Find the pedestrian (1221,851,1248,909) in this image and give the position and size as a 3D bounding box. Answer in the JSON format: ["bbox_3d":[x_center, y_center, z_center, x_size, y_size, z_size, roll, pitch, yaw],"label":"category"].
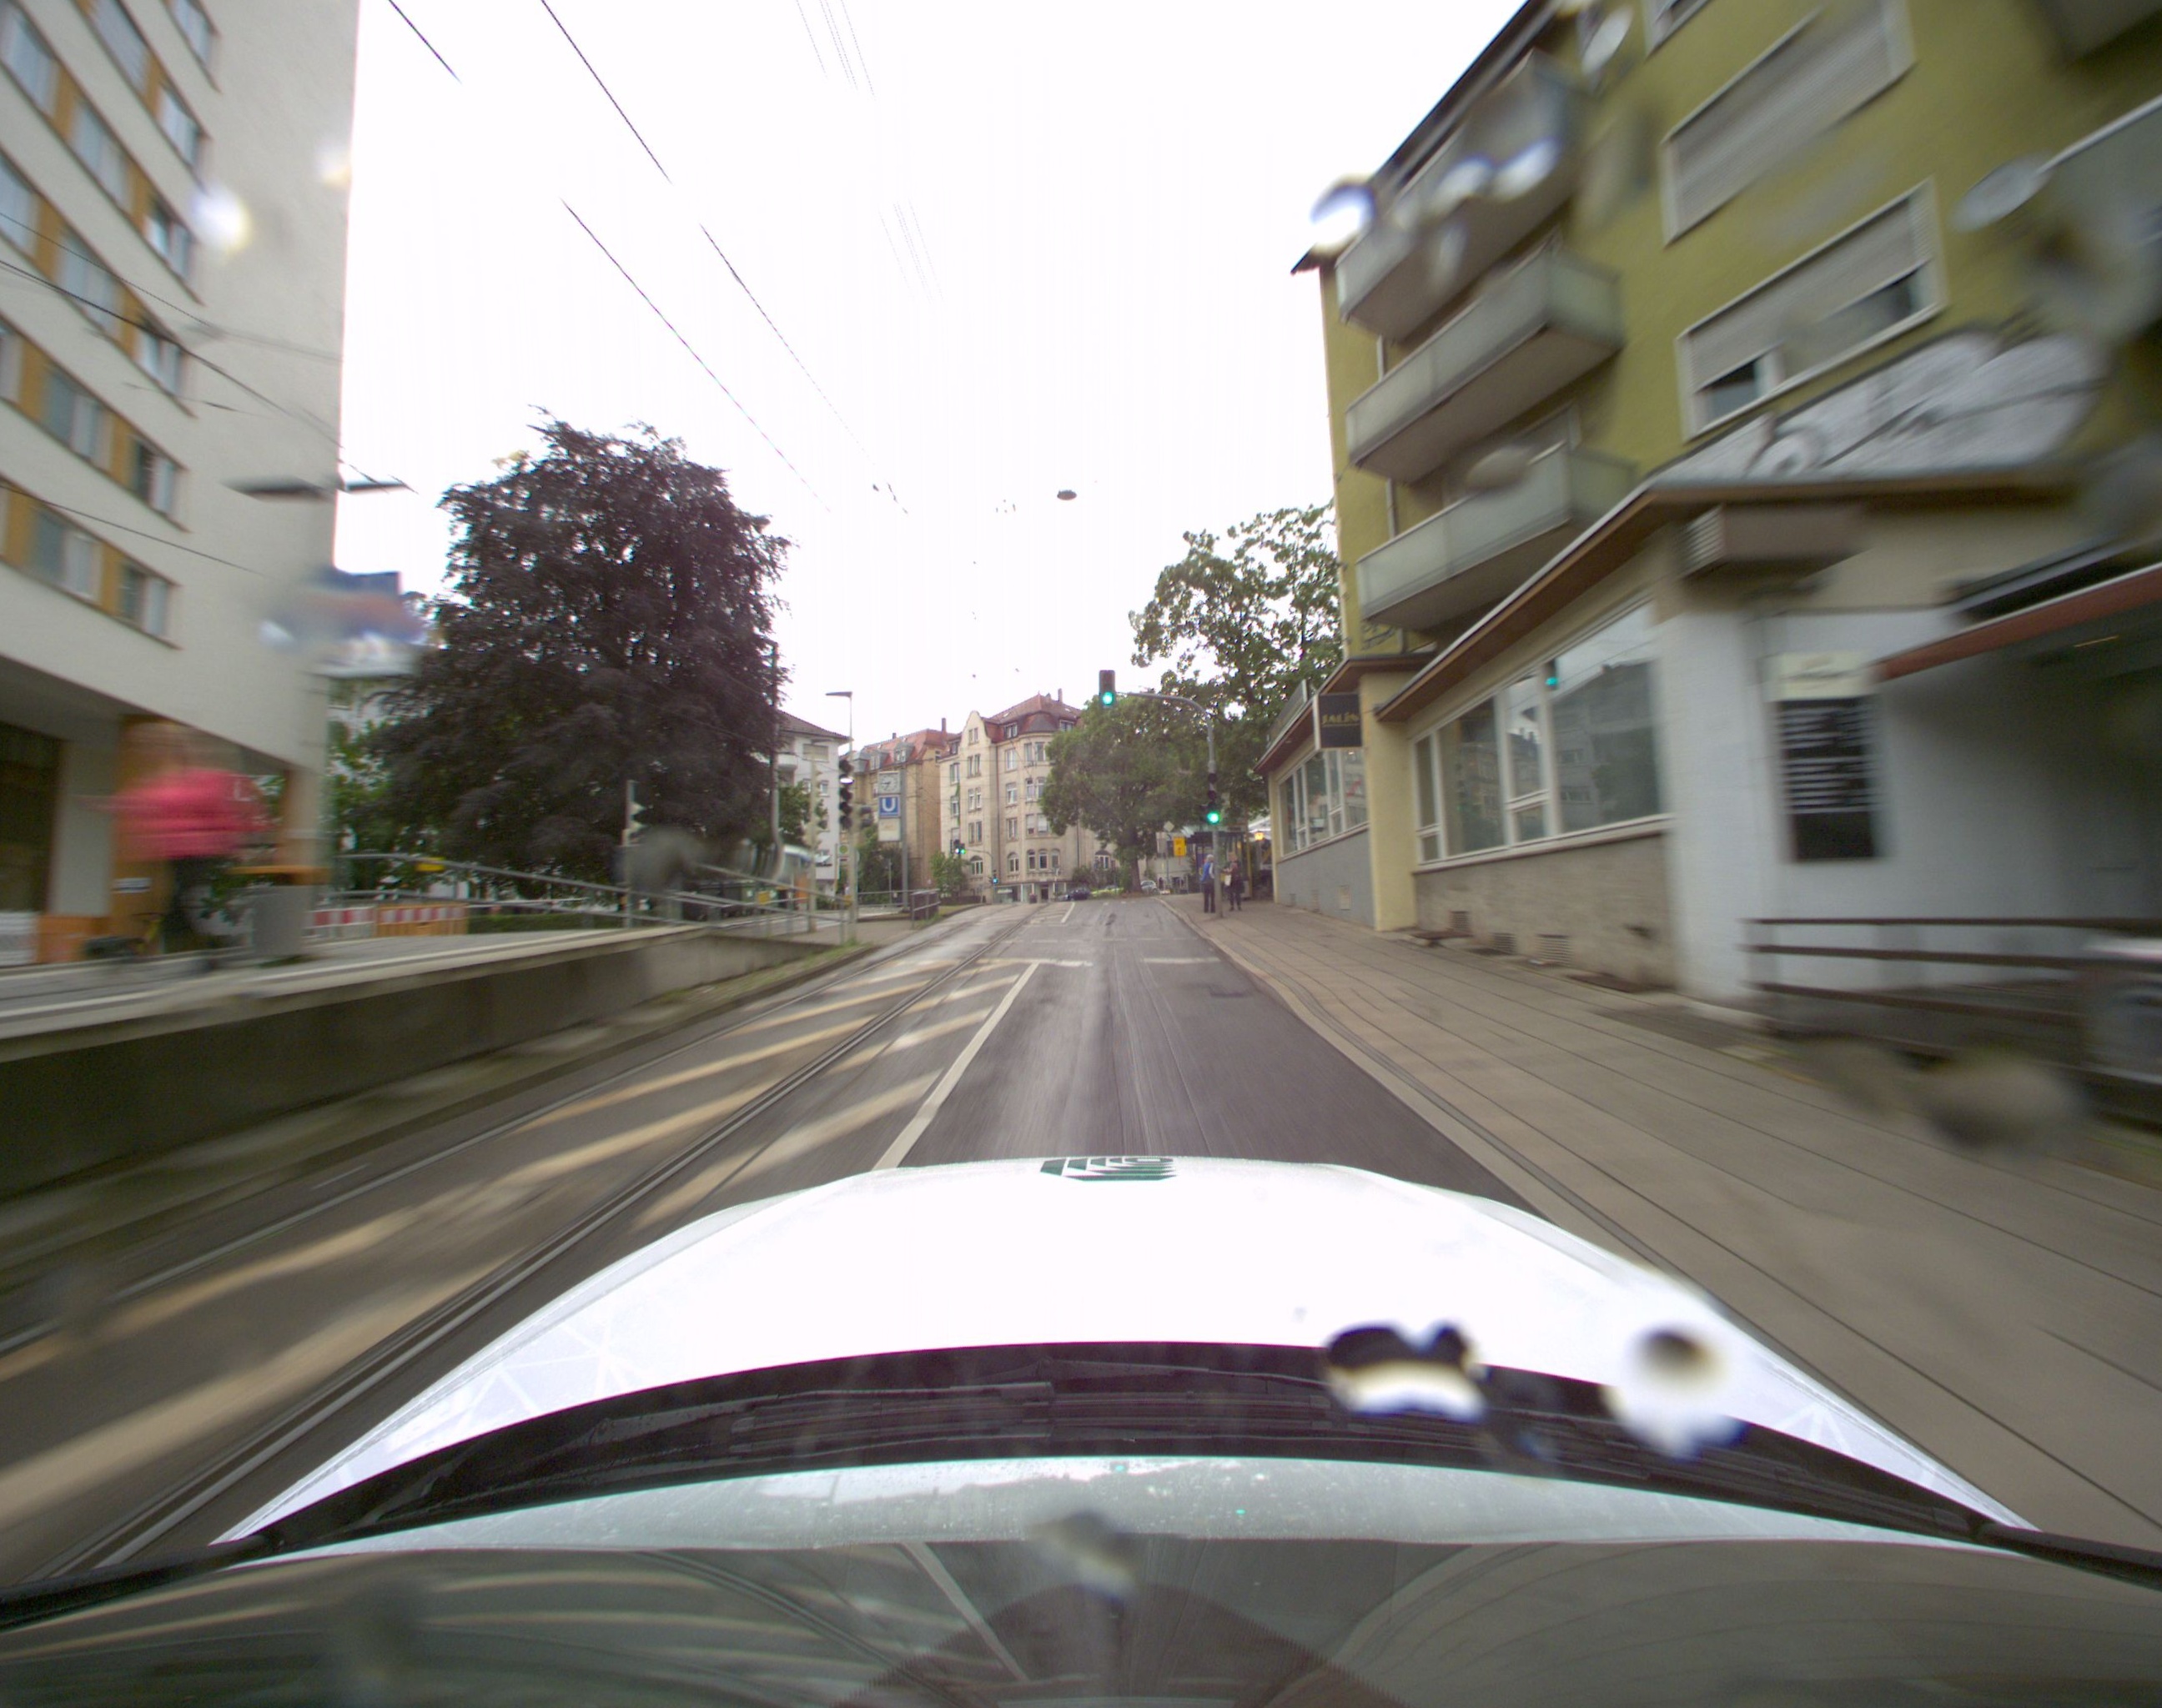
[{"bbox_3d":[4.250,0.701,22.577,0.544,1.554,0.559,-4,0,0],"label":"pedestrian"}]

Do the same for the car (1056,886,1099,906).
[{"bbox_3d":[-0.348,3.912,76.058,3.690,1.508,1.717,-4,-1,-40],"label":"car"}]

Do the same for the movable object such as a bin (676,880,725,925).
[{"bbox_3d":[-13.178,1.665,28.240,1.016,1.434,1.305,-1,0,4],"label":"movable object such as a bin"}]

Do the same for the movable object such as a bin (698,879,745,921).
[{"bbox_3d":[-13.056,1.658,29.595,1.016,1.434,1.357,-1,0,4],"label":"movable object such as a bin"}]

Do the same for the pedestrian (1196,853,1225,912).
[{"bbox_3d":[3.508,0.761,22.120,0.586,1.554,0.650,-4,0,2],"label":"pedestrian"}]

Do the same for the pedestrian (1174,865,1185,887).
[{"bbox_3d":[7.460,1.652,61.599,0.547,1.629,0.596,-1,0,-31],"label":"pedestrian"}]

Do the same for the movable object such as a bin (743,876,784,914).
[{"bbox_3d":[-12.845,1.657,33.013,1.016,1.434,1.429,-1,0,4],"label":"movable object such as a bin"}]

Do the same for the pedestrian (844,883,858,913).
[{"bbox_3d":[-13.381,2.574,47.396,0.567,1.684,0.774,-4,-2,-5],"label":"pedestrian"}]

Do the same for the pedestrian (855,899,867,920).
[{"bbox_3d":[-18.031,4.533,66.704,0.749,1.700,0.665,-1,0,-43],"label":"pedestrian"}]

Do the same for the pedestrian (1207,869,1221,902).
[{"bbox_3d":[4.737,1.109,29.042,0.324,1.150,0.317,-5,0,-2],"label":"pedestrian"}]

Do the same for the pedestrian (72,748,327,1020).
[{"bbox_3d":[-5.476,0.169,5.114,0.668,1.548,0.772,-3,0,2],"label":"pedestrian"}]

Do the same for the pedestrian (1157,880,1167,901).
[{"bbox_3d":[6.217,2.810,62.559,0.599,1.566,0.544,-1,0,-8],"label":"pedestrian"}]

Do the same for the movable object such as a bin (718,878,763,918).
[{"bbox_3d":[-13.018,1.655,31.217,1.016,1.434,1.446,-1,0,4],"label":"movable object such as a bin"}]

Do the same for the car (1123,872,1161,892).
[{"bbox_3d":[6.202,2.816,82.480,3.796,1.507,1.603,-5,-3,-44],"label":"car"}]

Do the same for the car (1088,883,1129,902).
[{"bbox_3d":[2.677,3.715,79.370,3.690,1.508,1.717,-4,-1,-40],"label":"car"}]
